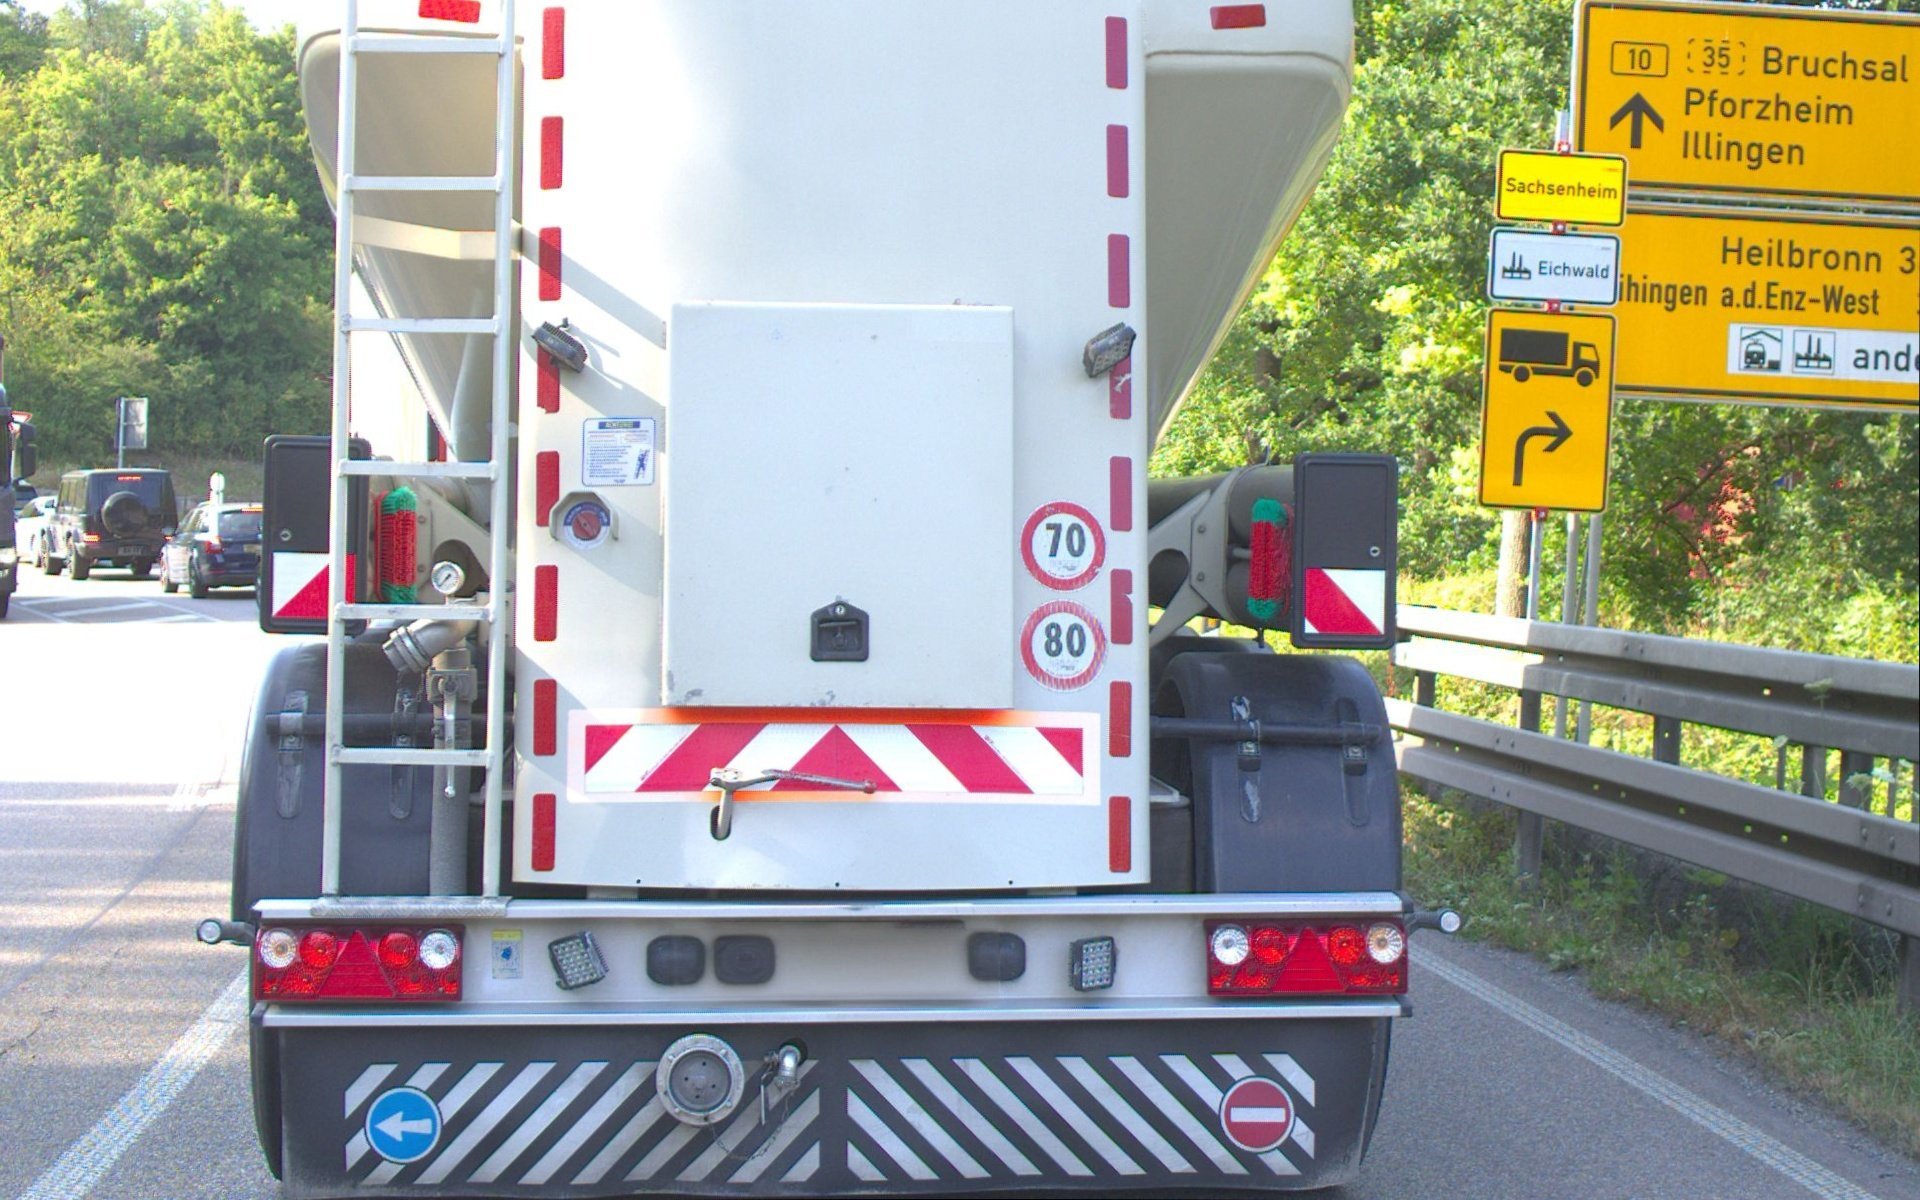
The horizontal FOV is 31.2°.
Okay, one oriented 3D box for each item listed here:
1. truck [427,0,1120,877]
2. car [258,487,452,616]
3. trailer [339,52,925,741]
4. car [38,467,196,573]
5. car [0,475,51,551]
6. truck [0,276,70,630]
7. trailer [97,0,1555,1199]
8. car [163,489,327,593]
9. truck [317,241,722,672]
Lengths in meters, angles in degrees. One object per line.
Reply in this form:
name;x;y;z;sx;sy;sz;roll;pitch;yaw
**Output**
truck;-1.122;-0.923;17.166;2.823;4.021;5.896;1;1;-7
car;-8.130;-0.688;45.964;1.867;1.622;4.001;-1;2;-20
trailer;-3.325;-1.462;29.487;3.544;4.497;12.988;2;1;-11
car;-15.360;-1.489;62.504;1.956;1.845;4.001;-1;2;-26
car;-21.360;-1.951;75.436;1.867;1.589;4.001;2;1;-27
truck;-15.000;-2.032;48.945;3.011;4.569;10.244;1;1;-23
trailer;-0.625;-0.999;11.673;2.886;4.439;9.607;1;1;-5
car;-11.226;-0.952;53.797;1.867;1.559;4.001;-1;2;-21
truck;-4.859;-1.437;36.618;3.449;4.072;6.493;2;1;-14
